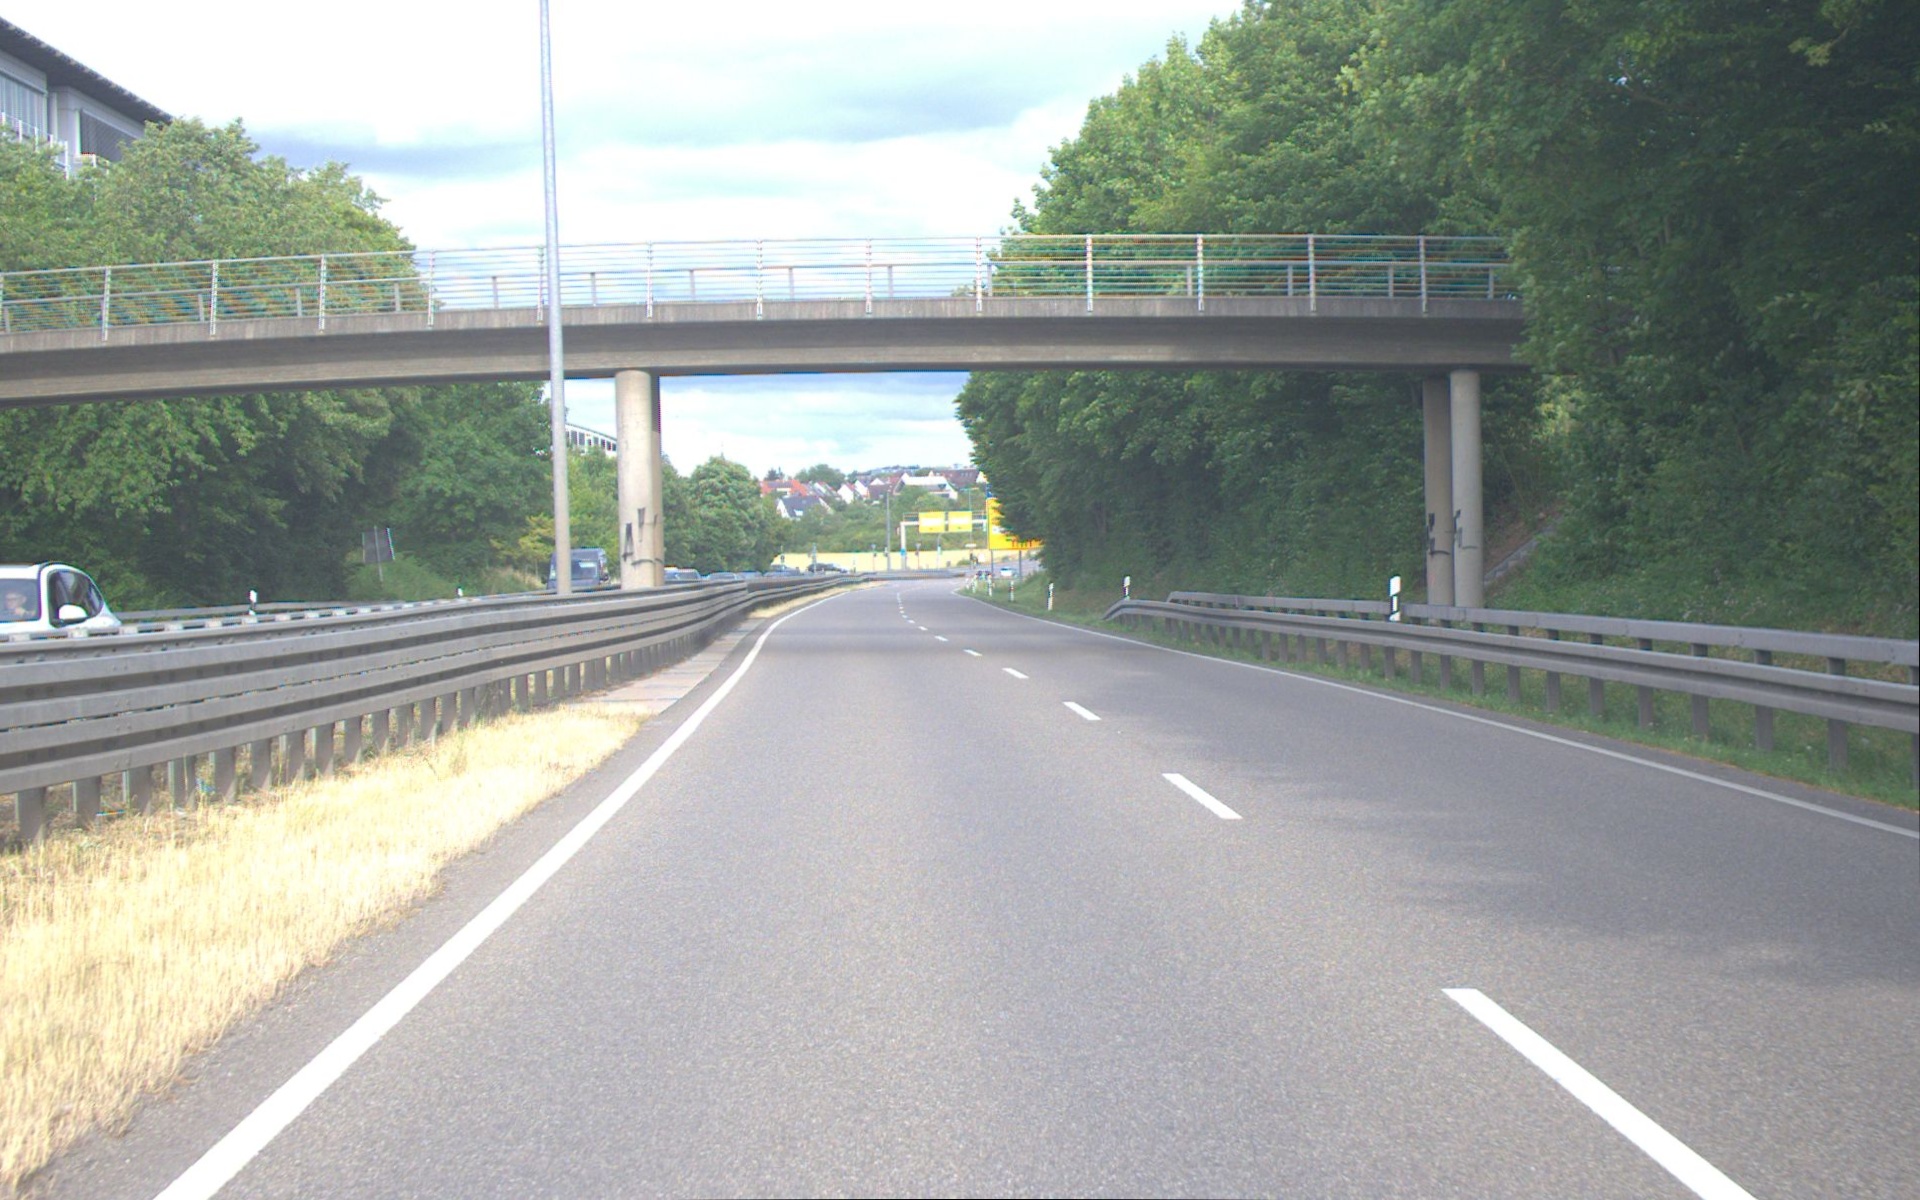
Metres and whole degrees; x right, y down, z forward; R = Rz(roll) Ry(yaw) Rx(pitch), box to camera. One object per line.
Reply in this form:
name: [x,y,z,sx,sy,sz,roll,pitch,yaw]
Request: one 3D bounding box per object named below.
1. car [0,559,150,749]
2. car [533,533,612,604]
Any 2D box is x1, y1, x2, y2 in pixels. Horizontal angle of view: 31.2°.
car: [-8.831,0.446,31.338,1.822,1.579,4.791,-1,1,-1]
car: [-14.324,-1.162,127.340,2.249,2.528,6.941,-1,1,-1]
